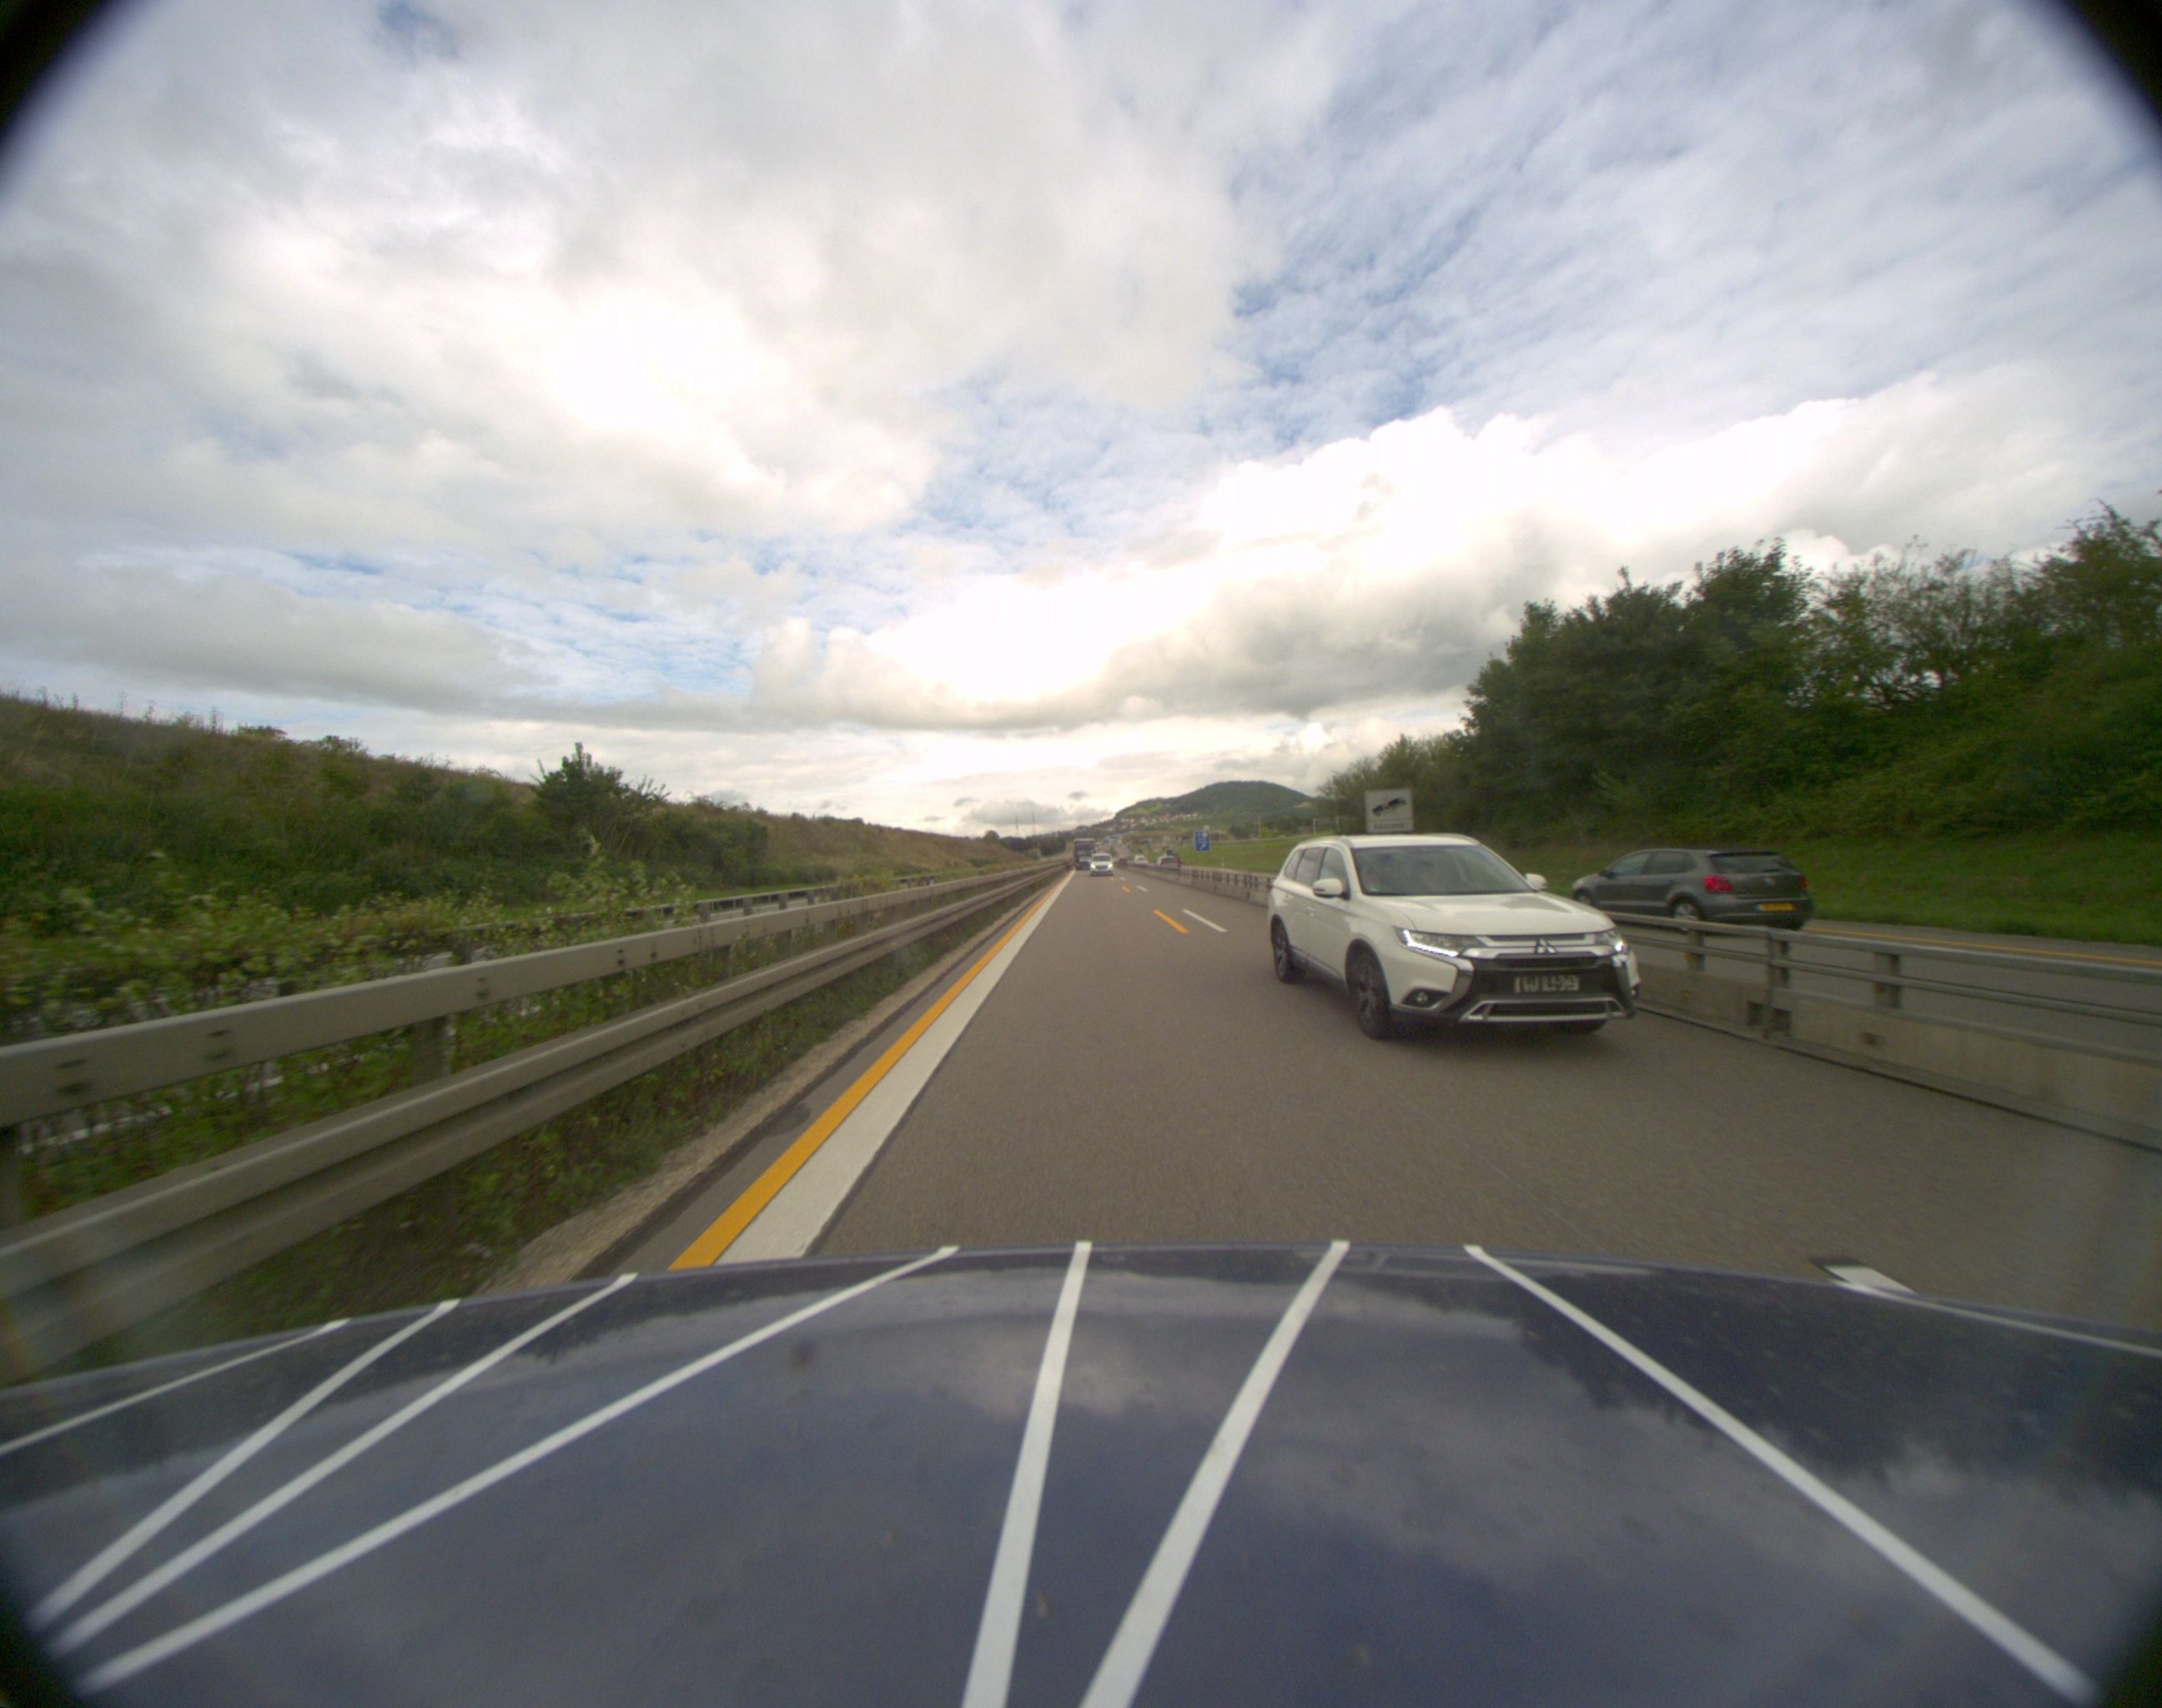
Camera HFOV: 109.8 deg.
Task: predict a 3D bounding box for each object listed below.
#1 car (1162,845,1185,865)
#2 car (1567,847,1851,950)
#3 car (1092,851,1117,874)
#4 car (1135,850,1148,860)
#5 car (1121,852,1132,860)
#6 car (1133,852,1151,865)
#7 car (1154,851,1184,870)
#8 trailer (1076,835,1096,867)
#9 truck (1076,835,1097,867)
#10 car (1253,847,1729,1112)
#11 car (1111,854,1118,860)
[{"bbox_3d":[11.084,0.116,91.466,1.999,2.239,5.049,-2,0,-1],"label":"car"},{"bbox_3d":[10.243,0.636,12.827,1.673,1.431,3.787,-2,0,1],"label":"car"},{"bbox_3d":[1.922,0.685,64.061,1.991,1.787,4.586,-2,0,1],"label":"car"},{"bbox_3d":[11.682,0.154,146.964,1.999,1.781,4.933,-2,0,0],"label":"car"},{"bbox_3d":[8.790,0.406,146.561,1.941,1.460,4.589,-1,0,1],"label":"car"},{"bbox_3d":[7.977,0.587,99.690,1.998,1.512,4.669,-2,0,0],"label":"car"},{"bbox_3d":[7.760,0.561,67.423,1.998,1.512,4.953,-2,0,0],"label":"car"},{"bbox_3d":[0.796,-0.440,104.760,2.521,4.081,11.113,-2,0,1],"label":"trailer"},{"bbox_3d":[0.705,-0.399,99.707,2.521,4.081,5.685,-2,0,1],"label":"truck"},{"bbox_3d":[3.081,0.787,7.054,1.998,1.618,4.607,-1,0,1],"label":"car"},{"bbox_3d":[9.033,0.760,202.955,1.761,1.380,4.327,-3,0,2],"label":"car"}]
